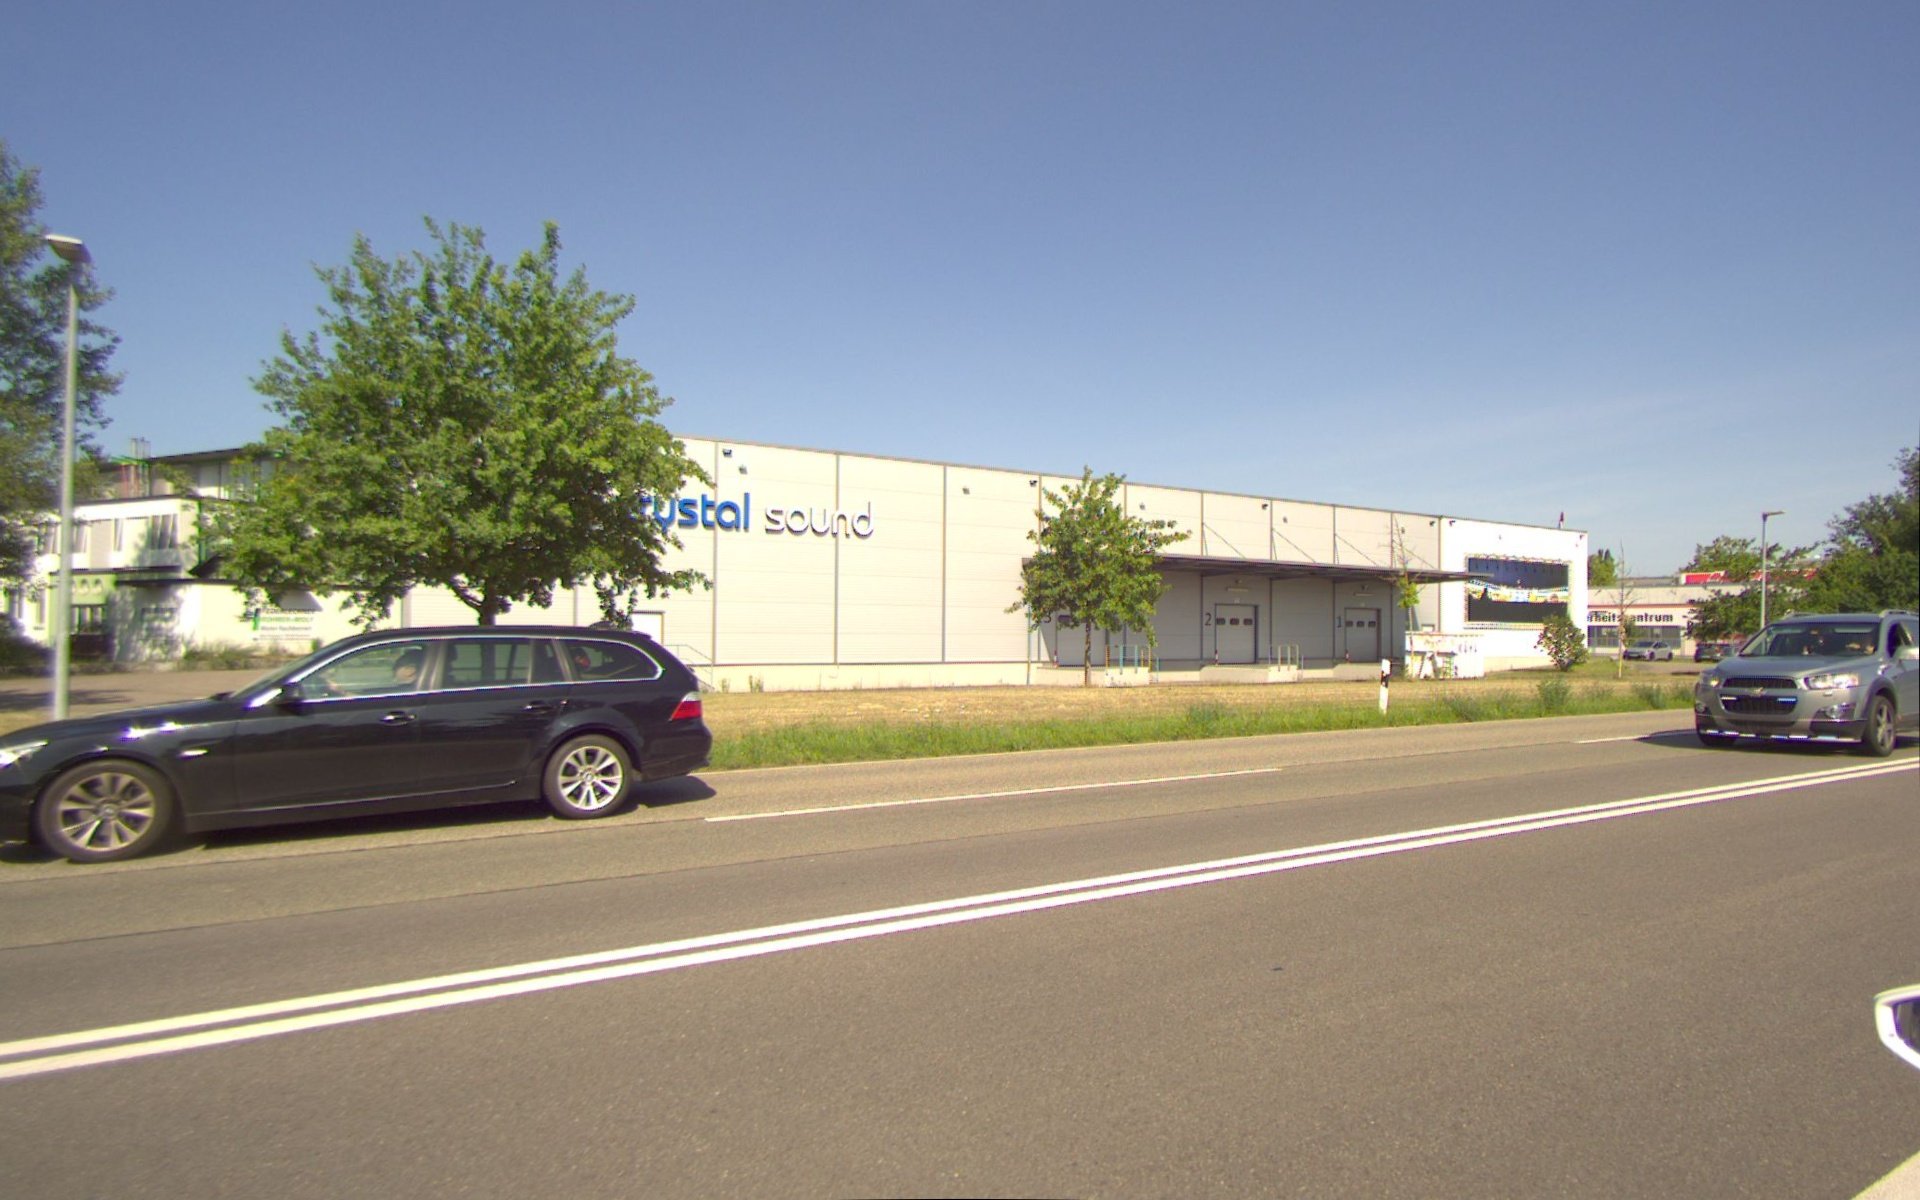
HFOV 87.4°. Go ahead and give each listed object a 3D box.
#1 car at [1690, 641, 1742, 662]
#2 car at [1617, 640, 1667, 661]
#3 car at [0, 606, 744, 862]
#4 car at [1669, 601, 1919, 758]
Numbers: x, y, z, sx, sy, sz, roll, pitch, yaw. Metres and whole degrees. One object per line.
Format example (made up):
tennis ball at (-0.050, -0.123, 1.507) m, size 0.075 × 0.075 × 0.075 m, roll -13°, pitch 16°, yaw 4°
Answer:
car at (52.181, 3.531, 69.345) m, size 3.680 × 1.408 × 1.628 m, roll 2°, pitch -2°, yaw -31°
car at (49.533, 3.661, 72.952) m, size 3.680 × 1.429 × 1.628 m, roll 2°, pitch -2°, yaw -31°
car at (-4.186, 0.879, 7.732) m, size 4.685 × 1.499 × 1.644 m, roll 1°, pitch -4°, yaw -31°
car at (11.355, 0.970, 13.055) m, size 4.516 × 1.736 × 1.764 m, roll 1°, pitch -3°, yaw -31°
